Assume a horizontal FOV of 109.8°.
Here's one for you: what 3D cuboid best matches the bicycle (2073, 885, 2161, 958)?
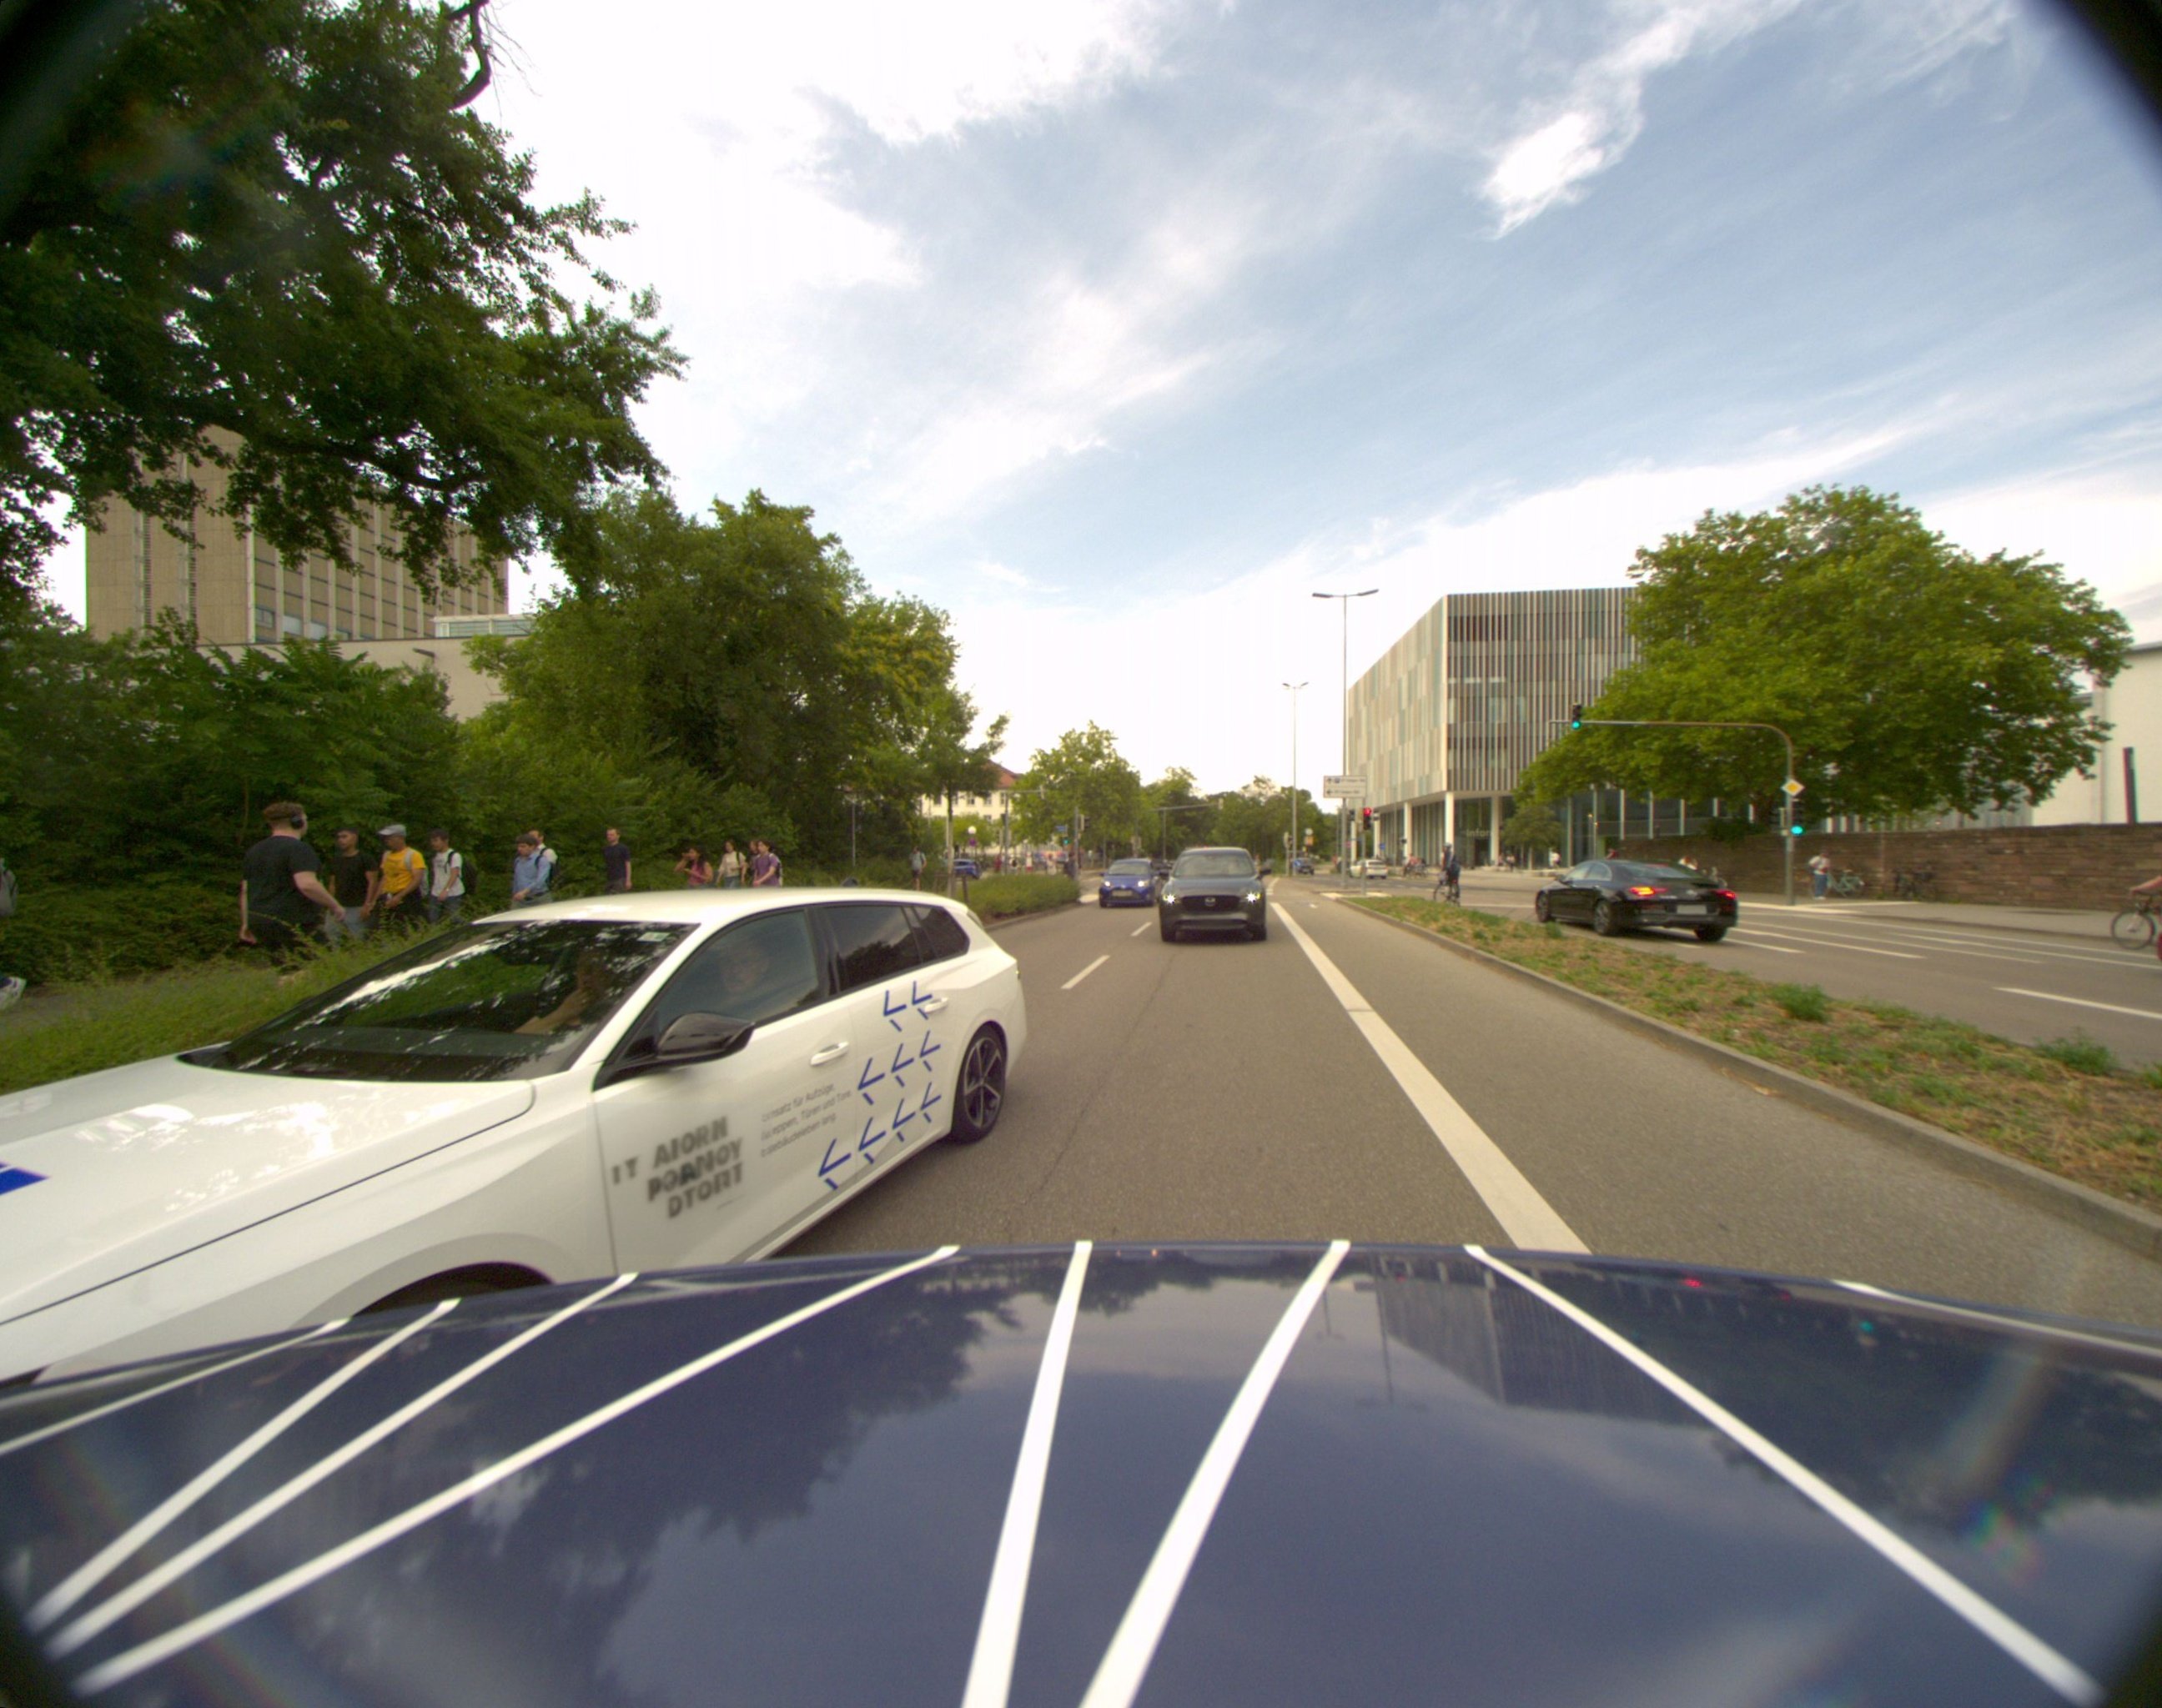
[{"bbox_3d":[18.436,1.150,13.021,0.582,1.164,1.966,0,0,10],"label":"bicycle"}]

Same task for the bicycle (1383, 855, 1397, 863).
[{"bbox_3d":[40.381,0.662,99.305,1.581,1.017,0.389,-2,0,3],"label":"bicycle"}]

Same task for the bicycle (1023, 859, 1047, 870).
[{"bbox_3d":[-4.965,1.167,81.674,2.470,1.136,0.718,0,1,9],"label":"bicycle"}]

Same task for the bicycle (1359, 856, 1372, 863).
[{"bbox_3d":[42.054,0.768,112.148,1.702,1.017,0.434,-2,0,3],"label":"bicycle"}]

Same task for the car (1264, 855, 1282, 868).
[{"bbox_3d":[24.052,0.895,95.471,1.805,1.503,4.106,0,1,9],"label":"car"}]

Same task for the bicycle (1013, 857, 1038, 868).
[{"bbox_3d":[-5.746,0.874,78.518,2.470,1.136,0.718,0,1,9],"label":"bicycle"}]

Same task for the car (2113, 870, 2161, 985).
[{"bbox_3d":[14.660,0.956,8.137,1.805,1.480,4.292,0,0,10],"label":"car"}]

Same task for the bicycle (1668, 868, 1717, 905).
[{"bbox_3d":[21.601,1.115,26.885,0.619,1.210,2.047,0,0,16],"label":"bicycle"}]

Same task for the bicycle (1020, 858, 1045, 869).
[{"bbox_3d":[-5.168,0.968,80.903,2.470,1.136,0.718,0,1,9],"label":"bicycle"}]

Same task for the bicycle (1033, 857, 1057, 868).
[{"bbox_3d":[-3.965,0.956,83.264,2.470,1.136,0.718,0,1,9],"label":"bicycle"}]

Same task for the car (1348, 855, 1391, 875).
[{"bbox_3d":[22.075,0.824,58.254,1.806,1.480,4.416,0,0,3],"label":"car"}]

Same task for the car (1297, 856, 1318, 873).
[{"bbox_3d":[20.218,0.890,67.957,1.574,1.480,3.640,-1,0,13],"label":"car"}]

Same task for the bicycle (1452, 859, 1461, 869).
[{"bbox_3d":[37.932,1.016,76.802,0.393,0.932,1.601,-2,0,41],"label":"bicycle"}]

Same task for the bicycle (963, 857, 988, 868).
[{"bbox_3d":[-11.330,0.938,81.652,2.470,1.136,0.718,0,1,9],"label":"bicycle"}]

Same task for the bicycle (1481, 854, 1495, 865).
[{"bbox_3d":[39.080,0.536,72.999,1.548,1.023,0.393,-2,0,-29],"label":"bicycle"}]

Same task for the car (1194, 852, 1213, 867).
[{"bbox_3d":[14.604,0.660,90.656,1.997,1.761,4.002,0,0,7],"label":"car"}]

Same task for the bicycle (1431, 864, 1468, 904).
[{"bbox_3d":[10.274,0.817,21.211,0.574,1.049,1.928,0,0,15],"label":"bicycle"}]

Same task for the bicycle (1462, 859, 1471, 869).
[{"bbox_3d":[38.328,1.013,75.588,0.393,0.932,1.601,-2,0,41],"label":"bicycle"}]

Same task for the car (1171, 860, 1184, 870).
[{"bbox_3d":[13.137,1.461,103.205,1.702,1.361,3.834,0,0,7],"label":"car"}]

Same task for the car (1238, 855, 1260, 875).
[{"bbox_3d":[13.999,0.890,63.081,1.659,1.455,4.004,-2,0,13],"label":"car"}]

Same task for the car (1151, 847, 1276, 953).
[{"bbox_3d":[2.491,0.750,14.516,1.903,1.639,4.648,-3,0,9],"label":"car"}]

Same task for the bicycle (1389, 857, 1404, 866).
[{"bbox_3d":[39.239,0.917,94.488,1.581,1.017,0.389,-2,0,3],"label":"bicycle"}]

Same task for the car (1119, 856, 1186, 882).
[{"bbox_3d":[4.784,0.980,51.049,4.175,1.547,1.804,-2,0,-5],"label":"car"}]

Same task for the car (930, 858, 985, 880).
[{"bbox_3d":[-8.861,1.094,54.781,3.578,1.483,1.675,0,1,8],"label":"car"}]

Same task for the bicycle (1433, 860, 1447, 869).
[{"bbox_3d":[37.277,1.098,78.913,1.613,0.932,0.393,-2,0,-25],"label":"bicycle"}]

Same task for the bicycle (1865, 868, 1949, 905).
[{"bbox_3d":[25.946,1.000,23.921,0.550,1.052,1.981,-3,0,4],"label":"bicycle"}]

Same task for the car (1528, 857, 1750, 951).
[{"bbox_3d":[10.315,0.816,14.510,1.804,1.480,4.410,0,0,13],"label":"car"}]

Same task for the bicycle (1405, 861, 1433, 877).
[{"bbox_3d":[25.508,1.147,57.419,1.895,1.163,0.606,0,0,-7],"label":"bicycle"}]

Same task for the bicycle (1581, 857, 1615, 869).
[{"bbox_3d":[44.726,0.763,65.705,2.682,0.993,0.673,0,1,-7],"label":"bicycle"}]

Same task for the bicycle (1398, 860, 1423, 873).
[{"bbox_3d":[25.572,0.954,58.951,1.691,0.983,0.571,-1,1,-5],"label":"bicycle"}]

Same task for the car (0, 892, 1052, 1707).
[{"bbox_3d":[-1.781,0.995,3.102,1.742,1.430,4.789,0,0,18],"label":"car"}]

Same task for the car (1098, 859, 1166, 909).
[{"bbox_3d":[1.734,0.907,24.774,1.701,1.485,3.835,0,0,11],"label":"car"}]

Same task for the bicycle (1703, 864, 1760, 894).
[{"bbox_3d":[26.212,0.995,30.668,0.578,1.119,2.166,-3,0,6],"label":"bicycle"}]

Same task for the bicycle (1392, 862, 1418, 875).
[{"bbox_3d":[25.959,1.138,60.884,1.822,0.983,0.728,-2,1,-6],"label":"bicycle"}]
